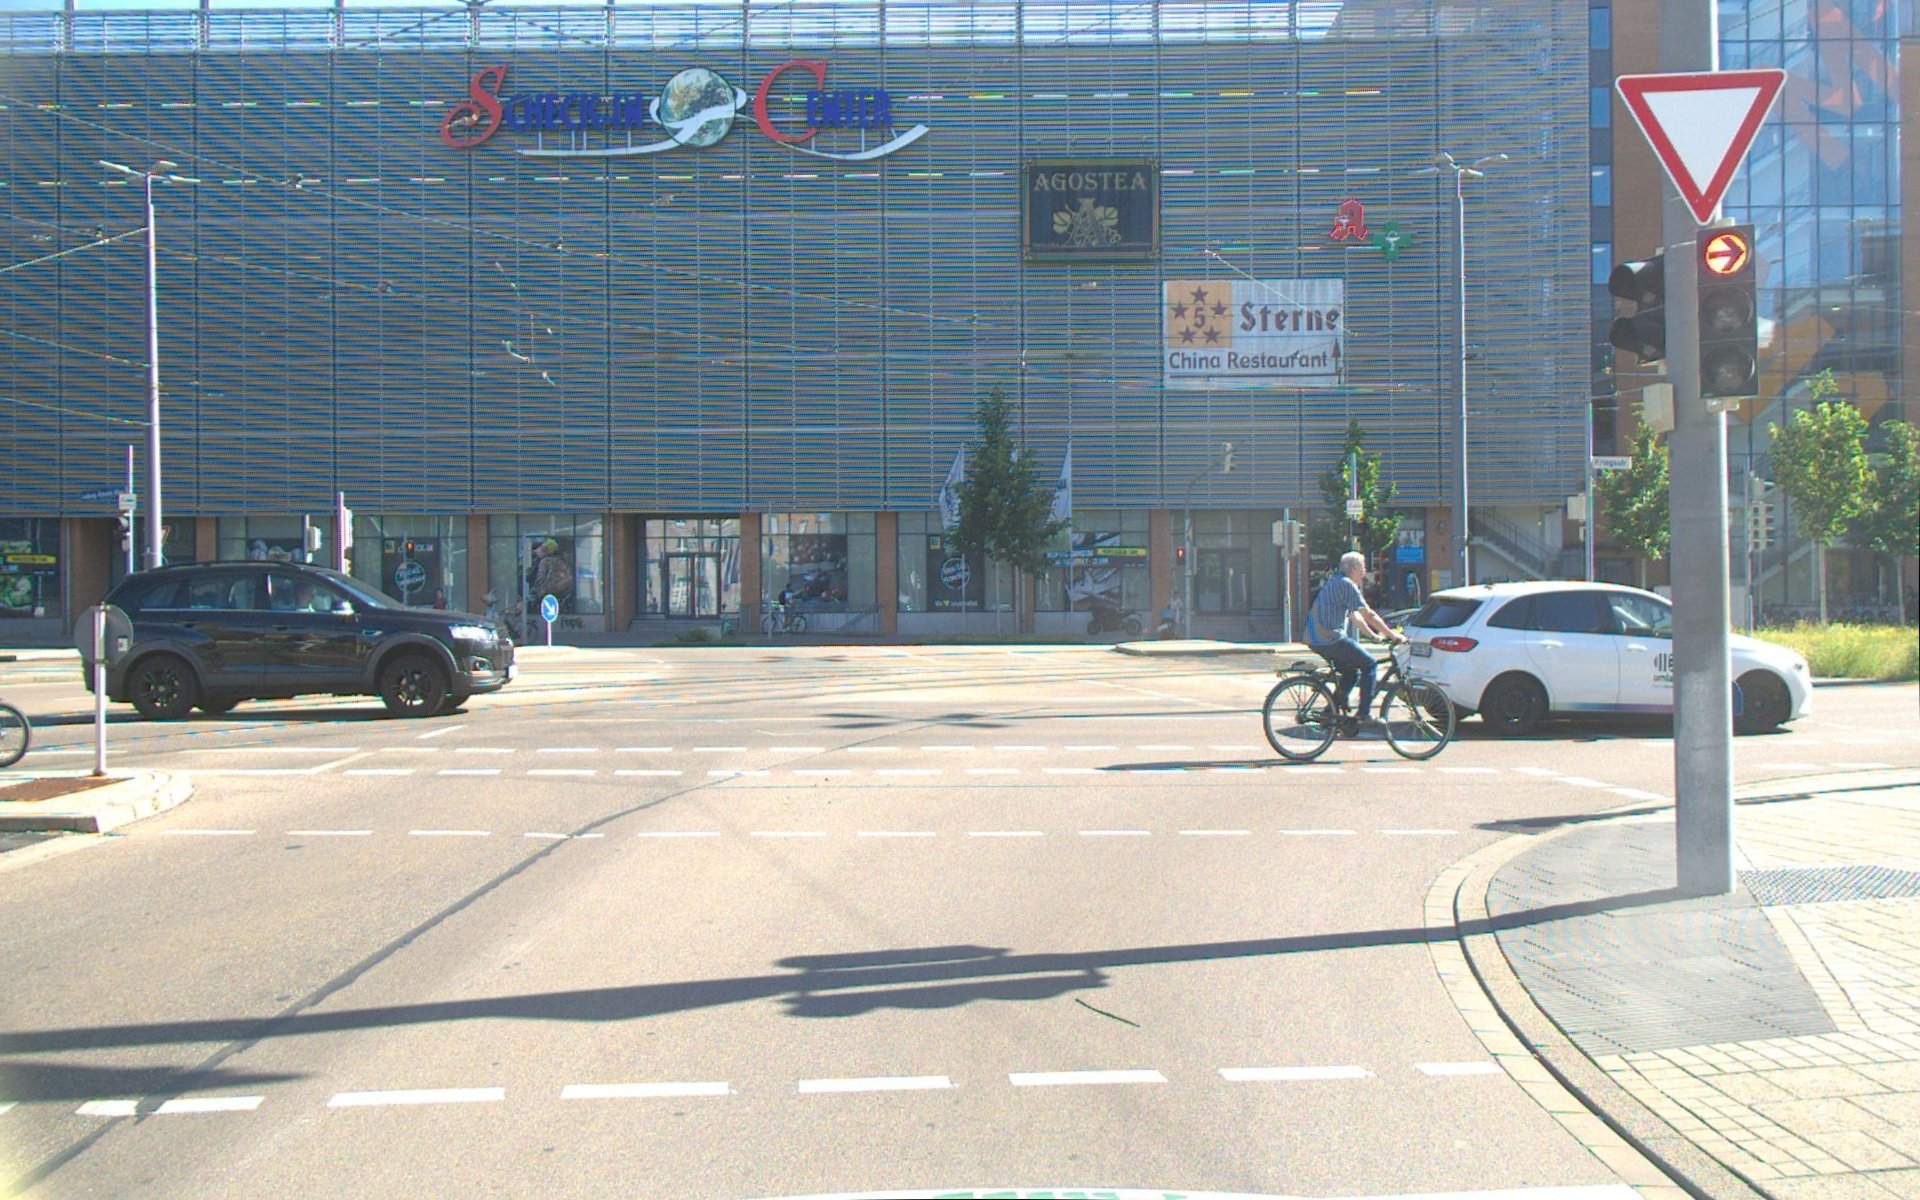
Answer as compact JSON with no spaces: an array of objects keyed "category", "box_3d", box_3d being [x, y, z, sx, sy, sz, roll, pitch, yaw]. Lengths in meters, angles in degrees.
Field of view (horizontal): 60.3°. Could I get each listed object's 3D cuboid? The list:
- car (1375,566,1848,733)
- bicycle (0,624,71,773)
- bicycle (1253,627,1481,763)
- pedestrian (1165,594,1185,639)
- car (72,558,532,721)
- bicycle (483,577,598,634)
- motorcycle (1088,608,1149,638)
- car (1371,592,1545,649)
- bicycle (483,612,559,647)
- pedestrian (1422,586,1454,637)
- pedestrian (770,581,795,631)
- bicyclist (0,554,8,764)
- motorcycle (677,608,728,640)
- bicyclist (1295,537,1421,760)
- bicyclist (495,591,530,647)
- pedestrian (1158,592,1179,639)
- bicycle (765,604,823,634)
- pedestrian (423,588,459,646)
[{"category":"car","box_3d":[6.907,0.479,17.777,4.402,1.663,1.837,0,1,-6]},{"category":"bicycle","box_3d":[-7.954,0.763,12.985,1.544,1.126,0.734,0,0,-3]},{"category":"bicycle","box_3d":[3.544,0.814,14.510,1.791,1.135,0.853,0,0,-1]},{"category":"pedestrian","box_3d":[7.222,0.540,55.553,0.577,1.488,0.658,0,0,-1]},{"category":"car","box_3d":[-7.374,0.408,18.956,4.545,1.748,1.837,0,1,-6]},{"category":"bicycle","box_3d":[-15.535,0.188,61.326,3.905,2.049,1.330,0,0,-1]},{"category":"motorcycle","box_3d":[5.831,0.838,60.995,2.157,1.061,1.061,0,0,-1]},{"category":"car","box_3d":[13.799,0.551,45.944,4.395,1.521,1.494,0,0,-1]},{"category":"bicycle","box_3d":[-14.513,0.959,54.747,2.225,1.089,1.030,0,0,-42]},{"category":"pedestrian","box_3d":[16.903,0.411,58.458,0.837,1.768,0.752,-1,0,-7]},{"category":"pedestrian","box_3d":[-6.407,0.200,59.731,0.831,1.794,0.620,0,0,-2]},{"category":"bicyclist","box_3d":[-8.054,0.474,12.984,0.767,1.677,0.690,0,0,-3]},{"category":"motorcycle","box_3d":[-8.708,0.810,56.024,1.616,1.078,0.497,0,0,9]},{"category":"bicyclist","box_3d":[3.474,0.415,14.511,0.883,1.892,0.854,0,0,-1]},{"category":"bicyclist","box_3d":[-14.747,0.613,54.538,0.838,1.834,0.803,0,0,-42]},{"category":"pedestrian","box_3d":[6.907,0.507,54.744,0.577,1.561,0.658,0,0,-1]},{"category":"bicycle","box_3d":[-6.069,0.689,60.573,1.985,1.078,1.144,0,0,-1]},{"category":"pedestrian","box_3d":[-17.212,0.550,54.831,0.890,1.901,0.816,0,0,42]}]
